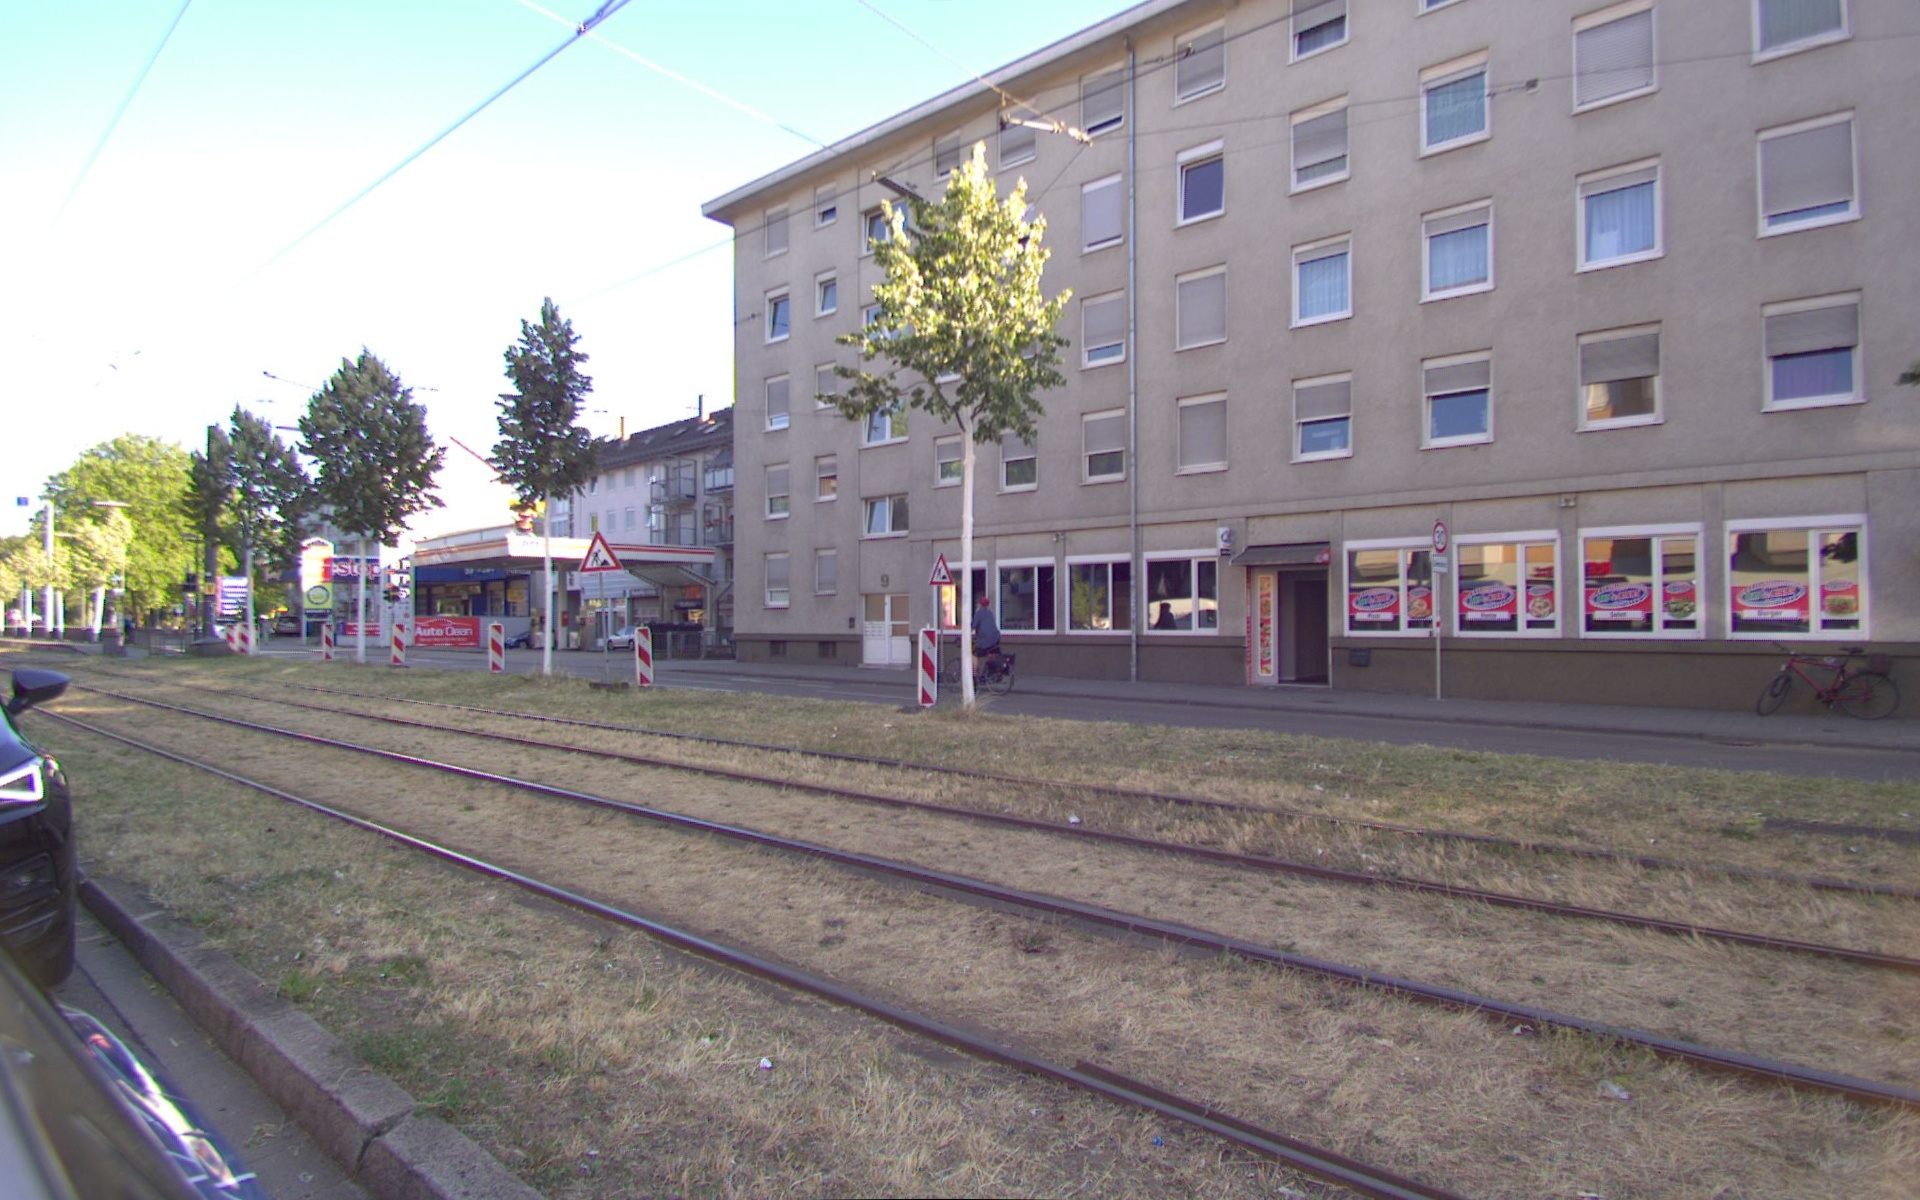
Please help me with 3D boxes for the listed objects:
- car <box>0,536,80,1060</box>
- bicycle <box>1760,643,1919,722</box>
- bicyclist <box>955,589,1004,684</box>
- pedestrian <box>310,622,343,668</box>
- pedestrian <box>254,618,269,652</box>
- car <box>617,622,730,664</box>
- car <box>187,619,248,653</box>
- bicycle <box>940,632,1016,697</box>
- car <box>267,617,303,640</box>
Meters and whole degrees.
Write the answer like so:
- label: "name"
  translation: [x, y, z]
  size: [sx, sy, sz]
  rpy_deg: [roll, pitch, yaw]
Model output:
- label: "car"
  translation: [-5.045, 0.678, 4.067]
  size: [3.998, 1.690, 1.752]
  rpy_deg: [-1, -1, 41]
- label: "bicycle"
  translation: [12.787, 1.168, 14.669]
  size: [1.844, 1.031, 0.601]
  rpy_deg: [-1, 0, 41]
- label: "bicyclist"
  translation: [0.403, 0.748, 20.711]
  size: [0.643, 1.897, 0.810]
  rpy_deg: [2, -3, -38]
- label: "pedestrian"
  translation: [-18.292, 1.291, 29.219]
  size: [0.581, 1.280, 0.655]
  rpy_deg: [-3, -1, 42]
- label: "pedestrian"
  translation: [-43.133, 2.161, 62.462]
  size: [0.583, 2.029, 0.623]
  rpy_deg: [-2, -2, 42]
- label: "car"
  translation: [-10.744, 1.602, 38.107]
  size: [1.906, 1.481, 3.680]
  rpy_deg: [-4, -4, 40]
- label: "car"
  translation: [-40.462, 1.916, 55.132]
  size: [4.395, 1.748, 1.971]
  rpy_deg: [-1, -1, 44]
- label: "bicycle"
  translation: [0.354, 1.306, 20.759]
  size: [0.449, 1.267, 1.874]
  rpy_deg: [0, -2, -38]
- label: "car"
  translation: [-49.933, 2.085, 74.848]
  size: [1.756, 1.567, 4.006]
  rpy_deg: [-1, 0, -40]
